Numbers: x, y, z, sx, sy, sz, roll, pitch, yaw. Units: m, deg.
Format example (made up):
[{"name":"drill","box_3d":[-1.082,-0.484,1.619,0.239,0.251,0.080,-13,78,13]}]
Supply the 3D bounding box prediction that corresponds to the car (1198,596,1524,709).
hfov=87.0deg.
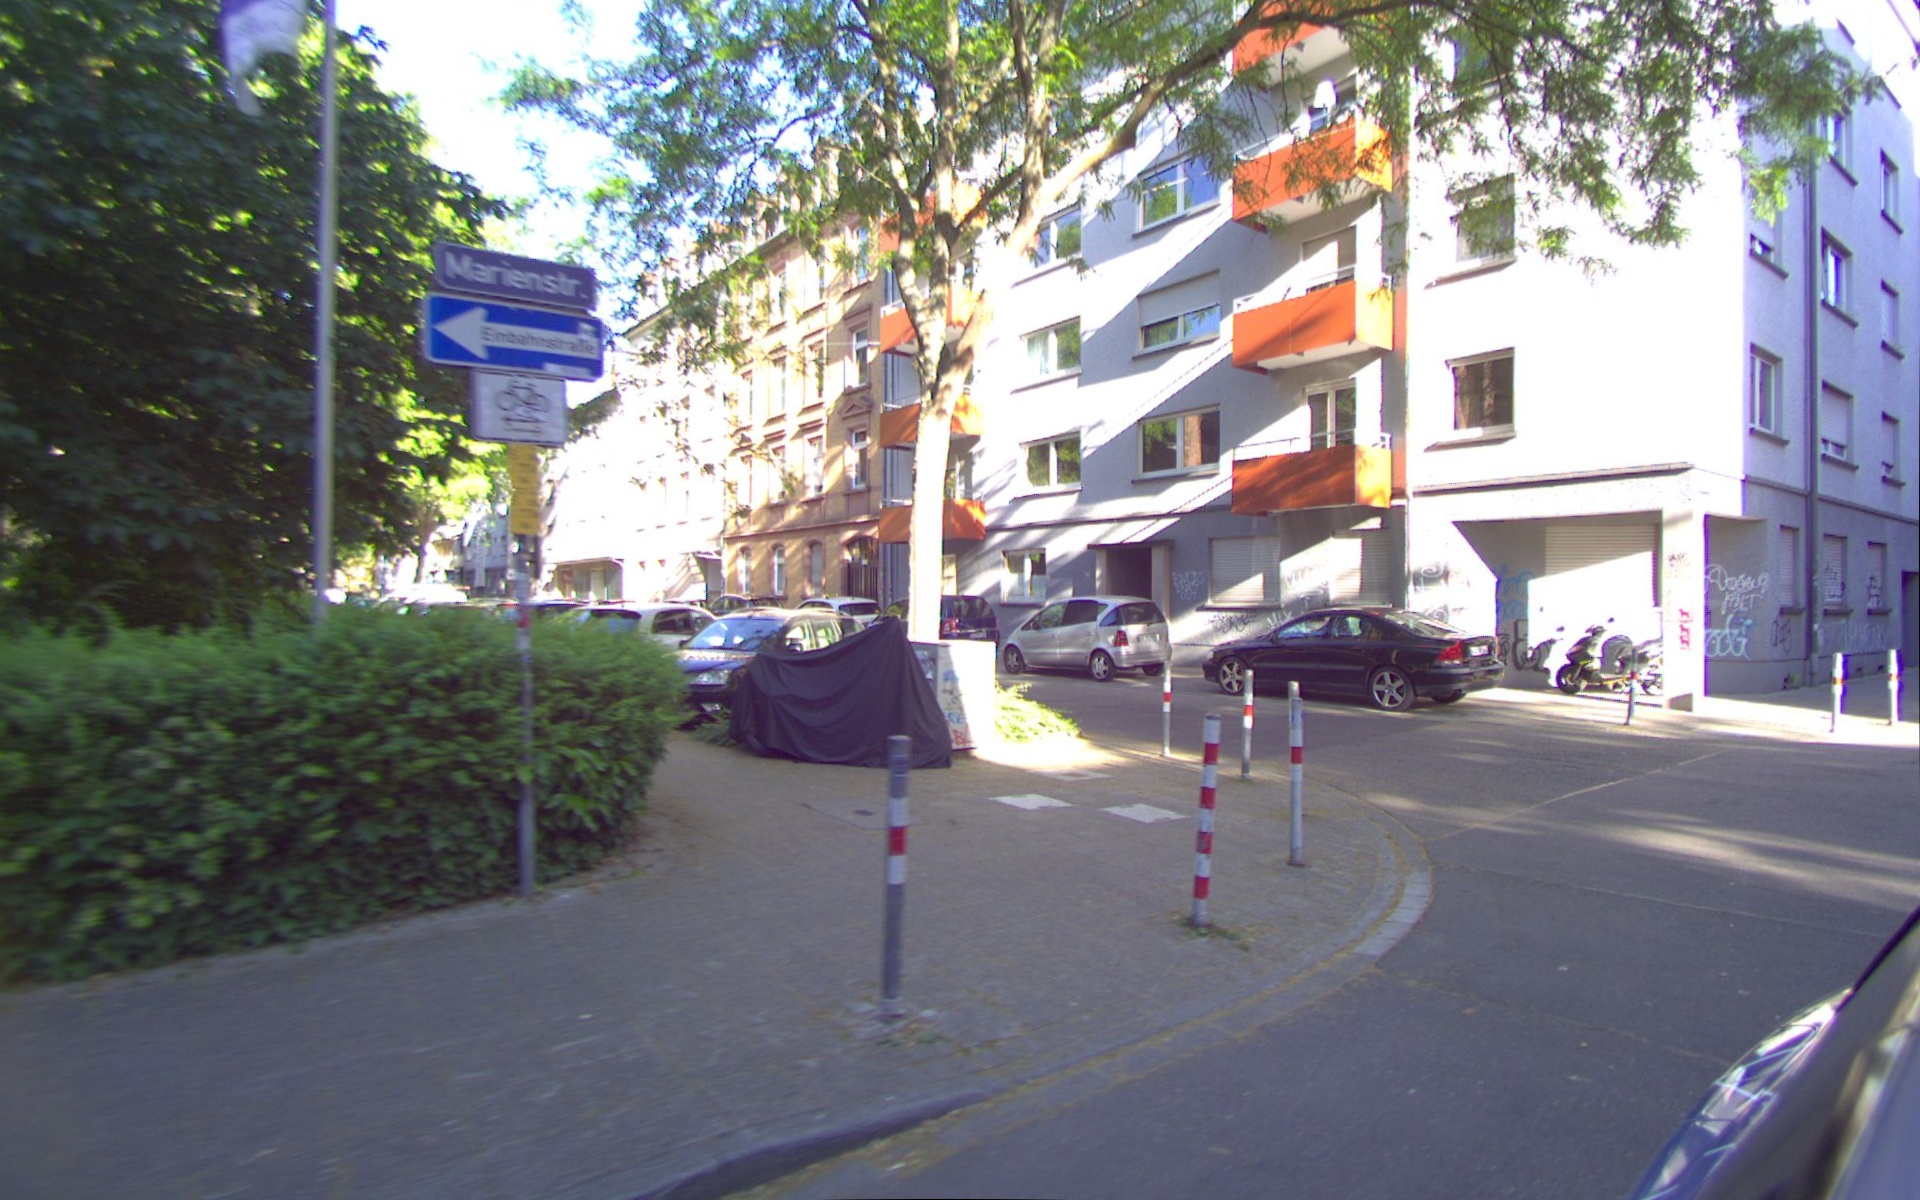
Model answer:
[{"name":"car","box_3d":[5.990,0.678,15.599,1.750,1.449,4.413,-1,1,-37]}]

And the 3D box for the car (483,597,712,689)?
[{"name":"car","box_3d":[-6.616,0.714,19.048,1.758,1.449,4.391,-1,1,17]}]

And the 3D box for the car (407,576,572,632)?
[{"name":"car","box_3d":[-13.193,0.061,28.690,1.758,1.449,4.391,-1,1,17]}]

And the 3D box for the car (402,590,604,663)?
[{"name":"car","box_3d":[-10.288,0.532,23.198,1.758,1.449,4.391,-1,1,17]}]

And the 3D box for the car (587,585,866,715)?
[{"name":"car","box_3d":[-2.959,0.556,13.901,1.758,1.449,4.391,-1,1,17]}]

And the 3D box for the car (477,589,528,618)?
[{"name":"car","box_3d":[-27.373,0.167,60.487,1.620,1.598,4.994,-3,3,-37]}]

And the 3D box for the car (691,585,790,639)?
[{"name":"car","box_3d":[-7.304,0.347,33.427,1.620,1.598,4.000,-3,3,-37]}]

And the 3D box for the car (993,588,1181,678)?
[{"name":"car","box_3d":[2.470,0.576,20.454,1.620,1.577,3.696,-3,3,-37]}]

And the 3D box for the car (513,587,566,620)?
[{"name":"car","box_3d":[-22.514,0.163,54.125,1.620,1.598,4.000,-3,3,-37]}]

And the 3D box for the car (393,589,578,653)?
[{"name":"car","box_3d":[-11.931,0.476,25.798,1.758,1.449,4.391,-1,1,17]}]

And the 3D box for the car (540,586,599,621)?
[{"name":"car","box_3d":[-19.383,0.160,50.160,1.620,1.598,4.000,-3,3,-37]}]

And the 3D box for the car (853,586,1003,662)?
[{"name":"car","box_3d":[-0.864,0.502,24.821,1.620,1.636,4.036,-3,3,-37]}]

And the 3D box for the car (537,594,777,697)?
[{"name":"car","box_3d":[-4.955,0.670,17.272,1.758,1.449,4.391,-1,1,17]}]

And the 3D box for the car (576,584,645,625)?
[{"name":"car","box_3d":[-15.266,0.158,44.094,1.620,1.598,4.000,-3,3,-37]}]

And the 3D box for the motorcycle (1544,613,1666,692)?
[{"name":"motorcycle","box_3d":[10.155,0.792,15.954,0.893,1.131,1.469,0,0,-44]}]

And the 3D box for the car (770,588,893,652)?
[{"name":"car","box_3d":[-3.676,0.501,28.432,1.620,1.598,4.000,-3,3,-37]}]

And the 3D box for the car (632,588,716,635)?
[{"name":"car","box_3d":[-10.685,0.387,37.664,1.620,1.598,4.000,-3,3,-37]}]

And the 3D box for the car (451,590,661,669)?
[{"name":"car","box_3d":[-8.379,0.548,21.467,1.758,1.449,4.391,-1,1,17]}]
